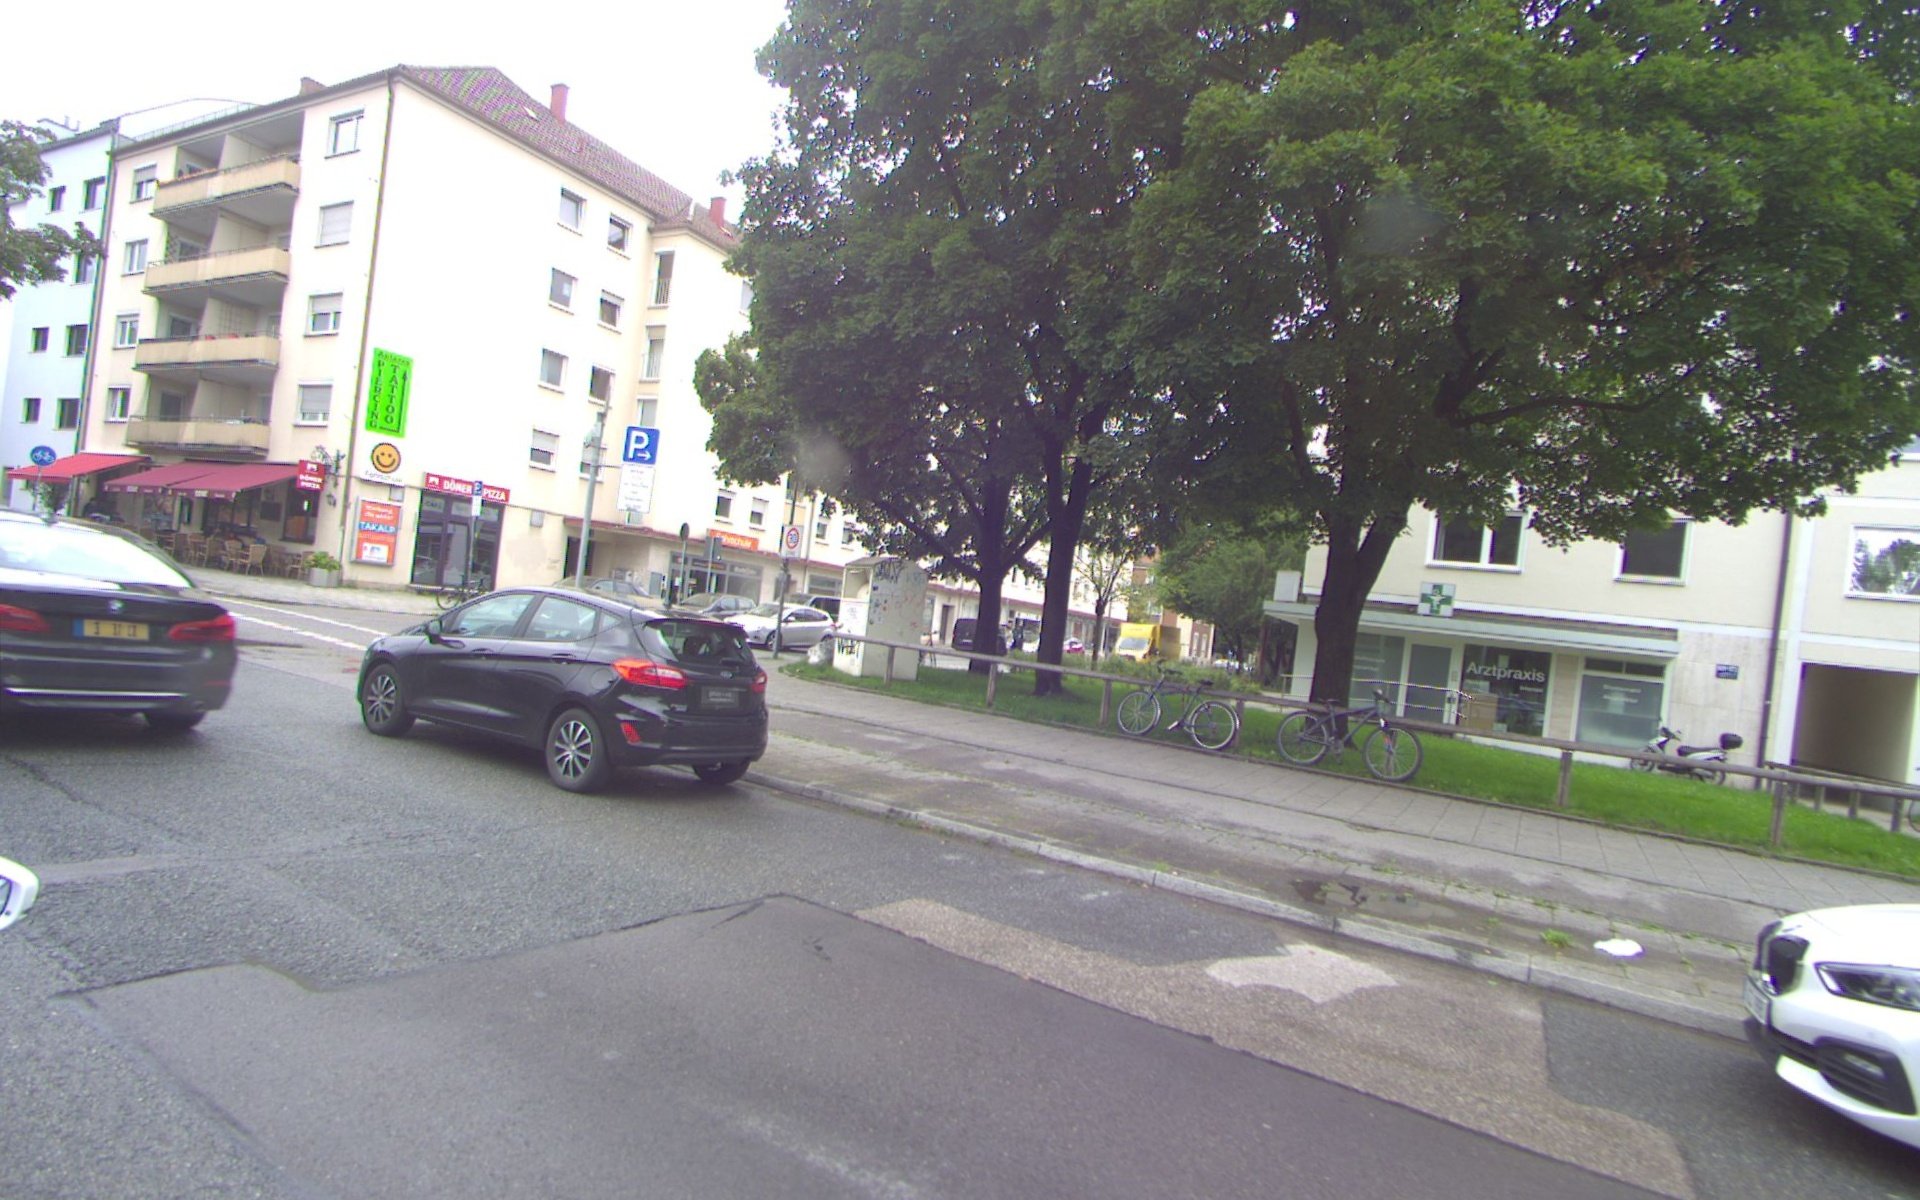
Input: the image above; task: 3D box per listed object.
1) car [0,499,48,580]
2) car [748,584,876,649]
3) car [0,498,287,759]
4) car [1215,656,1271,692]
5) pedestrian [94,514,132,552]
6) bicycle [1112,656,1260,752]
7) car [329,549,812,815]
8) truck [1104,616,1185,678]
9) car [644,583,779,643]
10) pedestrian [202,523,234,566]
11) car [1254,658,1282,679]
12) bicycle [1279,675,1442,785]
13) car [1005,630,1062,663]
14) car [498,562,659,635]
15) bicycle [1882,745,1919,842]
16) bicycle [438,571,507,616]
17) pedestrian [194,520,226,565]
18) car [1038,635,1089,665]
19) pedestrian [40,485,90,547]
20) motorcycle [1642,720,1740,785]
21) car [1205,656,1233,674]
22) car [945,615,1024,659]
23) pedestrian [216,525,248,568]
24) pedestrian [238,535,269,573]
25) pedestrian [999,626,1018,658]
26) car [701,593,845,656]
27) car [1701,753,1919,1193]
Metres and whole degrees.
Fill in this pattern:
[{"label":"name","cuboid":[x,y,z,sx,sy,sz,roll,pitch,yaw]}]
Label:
[{"label":"car","cuboid":[-20.125,-1.392,19.366,3.373,1.507,1.692,7,-1,-4]},{"label":"car","cuboid":[-5.487,0.665,37.917,1.966,1.907,4.994,7,-1,29]},{"label":"car","cuboid":[-7.215,0.008,7.409,4.612,1.493,1.826,7,-3,31]},{"label":"car","cuboid":[13.995,3.676,49.630,1.769,1.459,3.472,7,-1,29]},{"label":"pedestrian","cuboid":[-29.552,-2.344,35.092,0.636,1.177,0.745,7,0,31]},{"label":"bicycle","cuboid":[3.066,1.399,13.747,1.822,1.027,0.448,7,0,32]},{"label":"car","cuboid":[-3.373,0.585,8.534,3.890,1.494,1.647,7,-1,31]},{"label":"truck","cuboid":[9.933,2.592,53.604,2.236,2.803,6.765,7,-1,26]},{"label":"car","cuboid":[-8.017,0.472,32.846,1.966,1.459,3.996,7,-1,29]},{"label":"pedestrian","cuboid":[-23.535,-1.759,31.906,0.478,1.283,0.539,7,0,30]},{"label":"car","cuboid":[28.375,6.287,92.606,1.573,1.638,3.764,7,-1,29]},{"label":"bicycle","cuboid":[4.958,1.589,12.501,1.738,1.067,0.470,6,-2,31]},{"label":"car","cuboid":[4.146,2.628,56.309,1.573,1.459,3.764,7,-1,29]},{"label":"car","cuboid":[-10.624,0.003,28.284,1.701,1.537,3.934,7,-1,29]},{"label":"bicycle","cuboid":[11.508,2.306,11.592,0.652,1.080,2.032,7,-1,26]},{"label":"bicycle","cuboid":[-13.335,-0.165,27.545,0.545,1.023,1.541,7,-1,34]},{"label":"pedestrian","cuboid":[-24.290,-1.869,32.579,0.543,1.355,0.539,7,0,30]},{"label":"car","cuboid":[6.277,3.013,60.751,1.573,1.459,3.764,7,-1,29]},{"label":"pedestrian","cuboid":[-31.121,-2.916,35.002,0.747,1.952,0.871,7,0,15]},{"label":"motorcycle","cuboid":[16.159,3.364,22.289,1.595,1.133,0.605,7,0,32]},{"label":"car","cuboid":[25.078,6.285,97.203,1.573,1.459,3.764,7,-1,29]},{"label":"car","cuboid":[1.326,1.935,51.441,2.117,1.806,4.999,7,-1,24]},{"label":"pedestrian","cuboid":[-22.714,-1.671,31.397,0.479,1.229,0.539,7,0,31]},{"label":"pedestrian","cuboid":[-21.452,-1.389,30.557,0.479,1.066,0.539,7,0,31]},{"label":"pedestrian","cuboid":[2.465,2.141,50.861,0.486,1.551,0.733,7,0,31]},{"label":"car","cuboid":[-5.648,0.787,30.924,1.966,1.459,4.217,7,-1,30]},{"label":"car","cuboid":[5.331,1.624,3.431,4.216,1.452,1.826,7,-3,31]}]
